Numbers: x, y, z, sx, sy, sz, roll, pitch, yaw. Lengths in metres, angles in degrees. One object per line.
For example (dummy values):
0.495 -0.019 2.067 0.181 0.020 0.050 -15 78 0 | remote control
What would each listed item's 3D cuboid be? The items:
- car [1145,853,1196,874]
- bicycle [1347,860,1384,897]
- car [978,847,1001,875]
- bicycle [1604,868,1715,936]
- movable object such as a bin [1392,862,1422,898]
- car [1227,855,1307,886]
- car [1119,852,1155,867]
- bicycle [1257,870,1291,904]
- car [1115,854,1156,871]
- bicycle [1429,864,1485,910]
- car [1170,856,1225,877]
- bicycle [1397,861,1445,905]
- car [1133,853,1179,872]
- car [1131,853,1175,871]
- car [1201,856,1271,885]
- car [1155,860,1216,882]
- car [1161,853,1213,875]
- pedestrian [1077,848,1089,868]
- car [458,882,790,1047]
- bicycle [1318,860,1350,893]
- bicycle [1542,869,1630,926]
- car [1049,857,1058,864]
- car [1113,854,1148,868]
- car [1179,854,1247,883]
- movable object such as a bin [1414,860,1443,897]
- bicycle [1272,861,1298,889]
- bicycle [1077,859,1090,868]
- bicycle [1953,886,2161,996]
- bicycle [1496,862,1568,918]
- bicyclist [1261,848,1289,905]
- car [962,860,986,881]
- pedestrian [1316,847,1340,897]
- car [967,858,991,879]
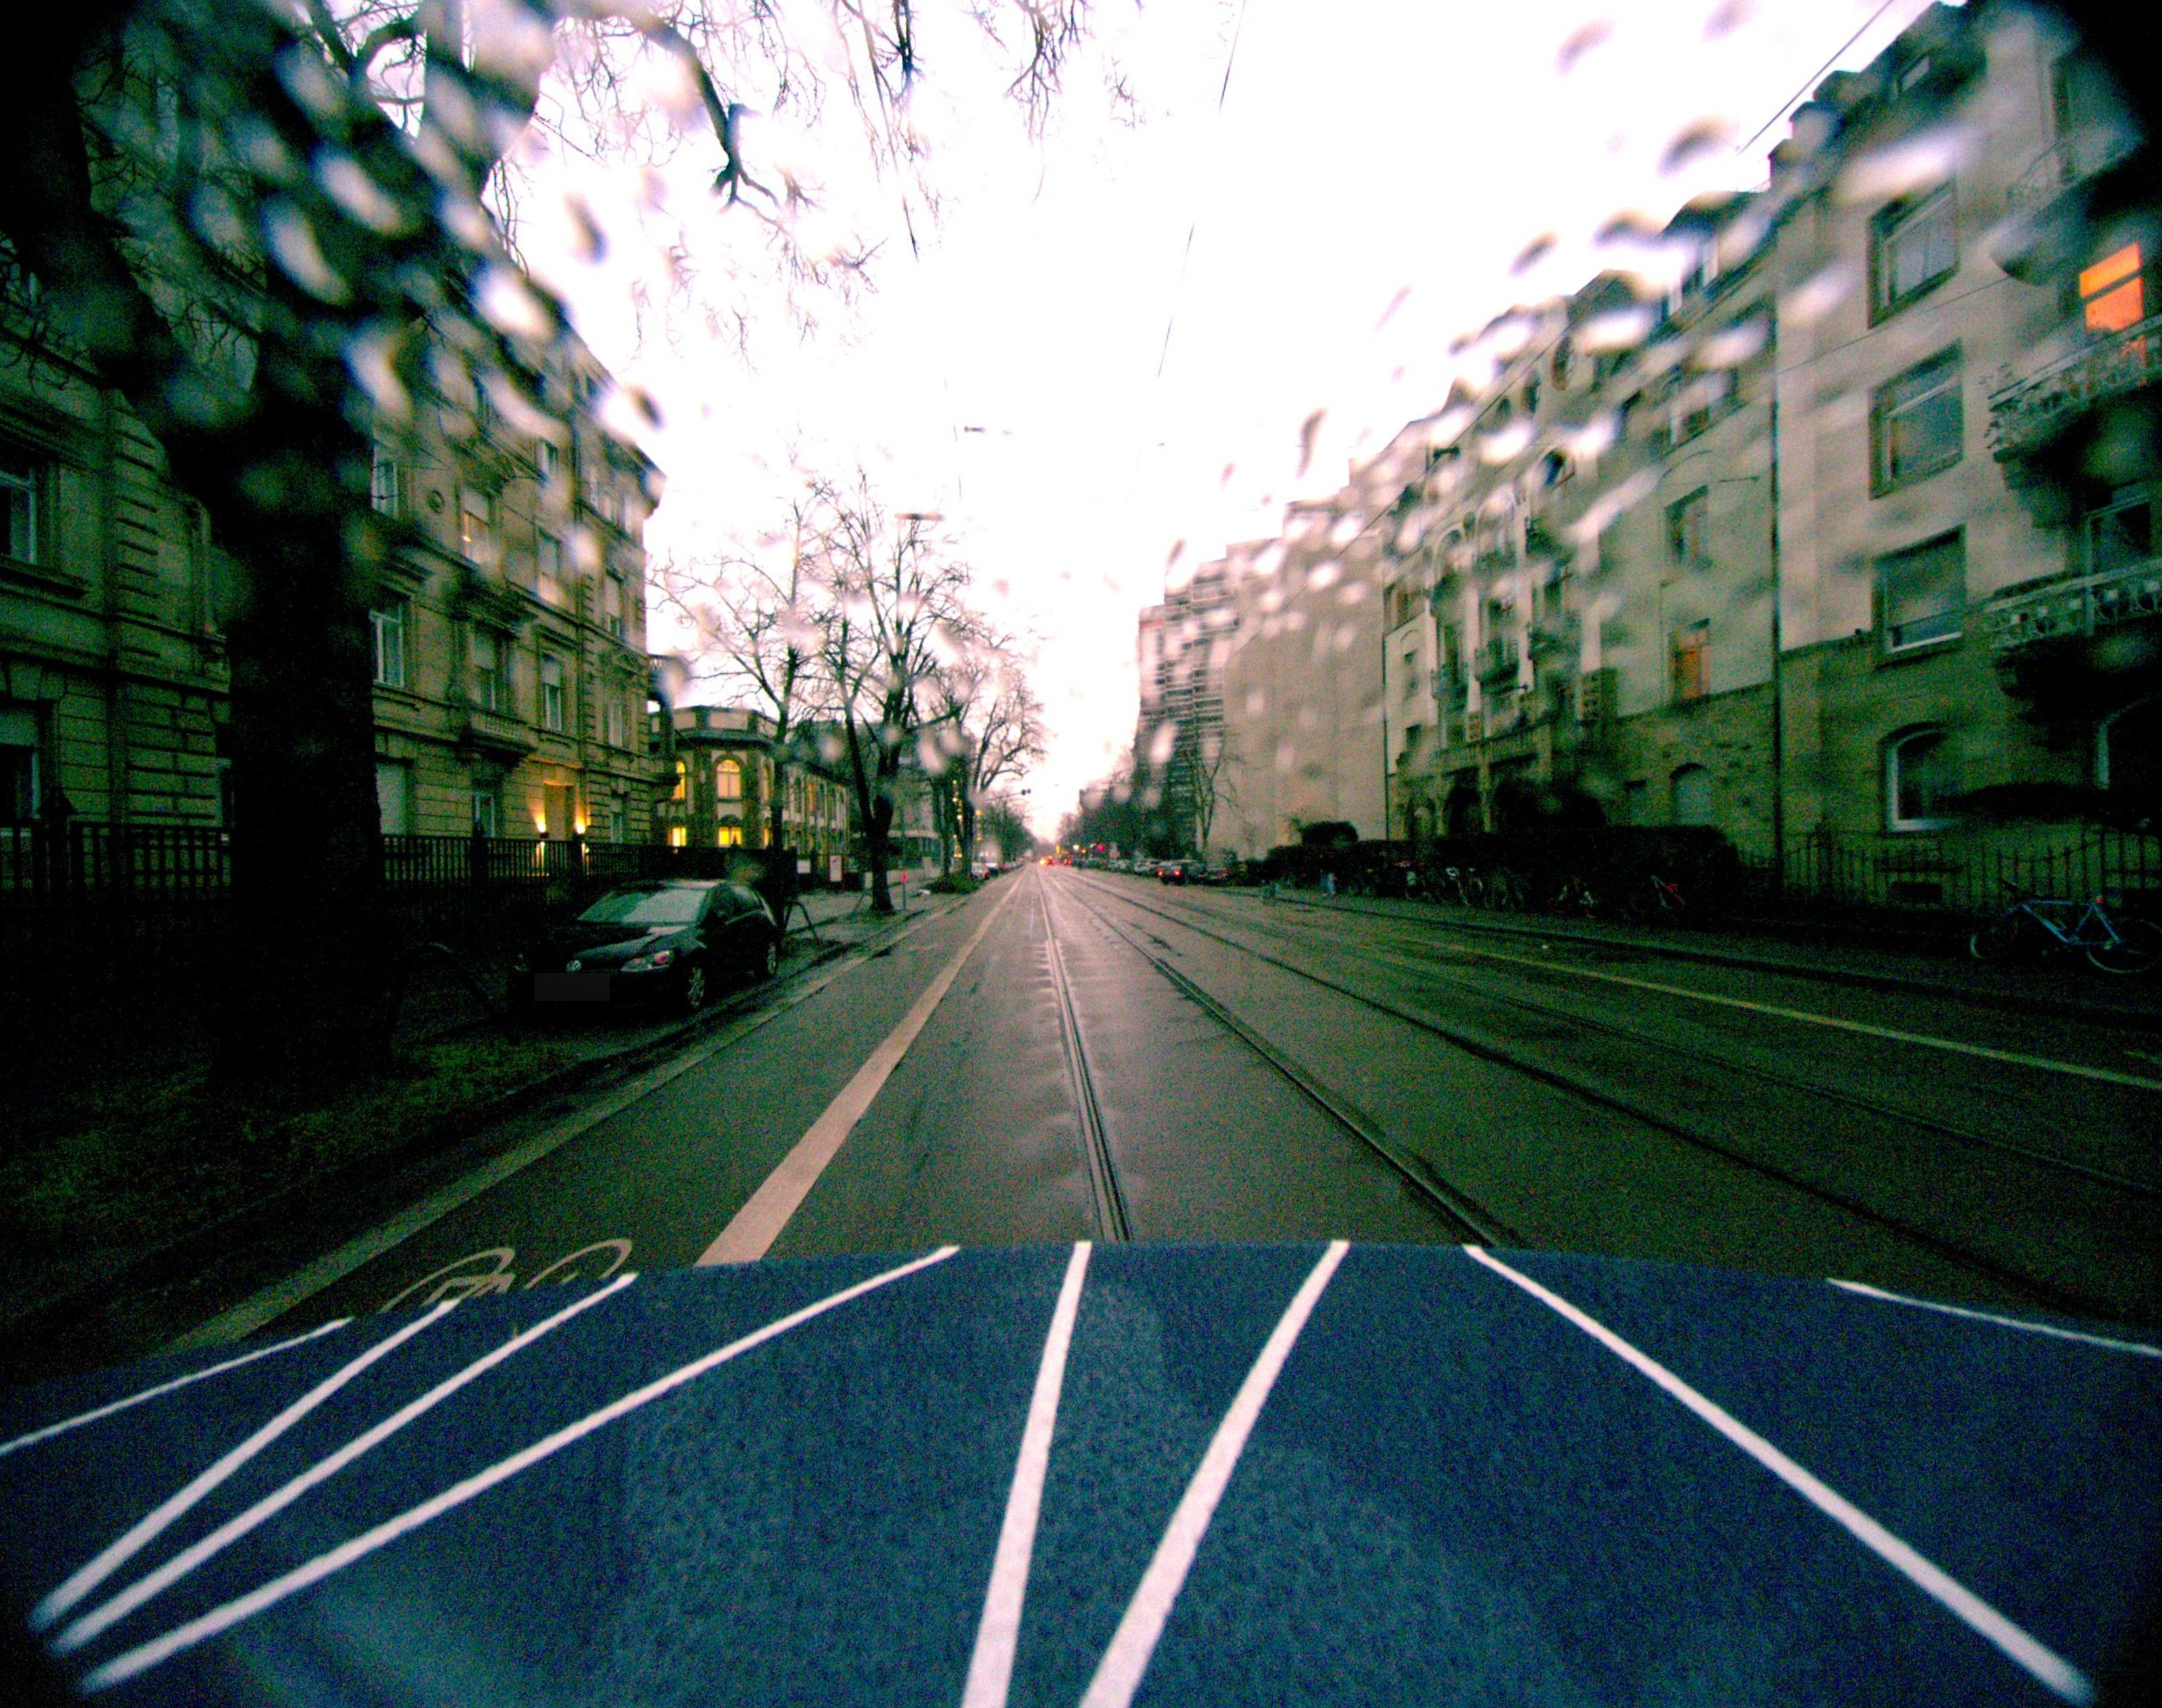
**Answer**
7.457 0.802 63.128 4.008 1.586 1.864 -2 0 -40 | car
9.790 0.824 26.171 0.625 1.205 1.662 -1 0 -1 | bicycle
-9.222 0.647 77.033 2.094 2.622 5.446 -2 1 -6 | car
10.416 0.829 13.764 0.625 1.119 1.783 -1 0 -1 | bicycle
10.550 0.831 24.616 0.659 1.157 0.674 -1 0 -1 | movable object such as a bin
9.980 0.855 40.704 4.006 1.485 1.864 -2 0 -32 | car
6.560 0.661 89.195 4.008 1.586 1.864 -2 0 -40 | car
6.573 1.103 25.945 0.625 1.086 1.947 -1 0 -1 | bicycle
5.621 0.899 77.821 4.008 1.586 1.864 -2 0 -40 | car
9.977 0.848 20.203 0.625 1.157 1.662 -1 0 -1 | bicycle
8.751 0.912 56.923 4.008 1.440 1.864 -2 0 -40 | car
9.933 0.827 22.276 0.625 1.205 1.662 -1 0 -1 | bicycle
6.901 0.788 69.592 4.008 1.586 1.864 -2 0 -40 | car
6.943 0.766 72.699 4.008 1.586 1.864 -2 0 -40 | car
8.823 0.895 43.081 4.008 1.477 1.760 -2 0 -40 | car
6.501 1.045 47.157 3.673 1.245 1.707 0 0 -41 | car
8.445 0.809 60.492 4.008 1.586 1.864 -2 0 -40 | car
0.257 0.477 89.918 0.950 2.246 1.120 -1 1 22 | pedestrian
-5.104 1.123 9.265 1.763 1.437 4.156 1 -1 -4 | car
9.494 0.825 28.537 0.625 1.205 1.662 -1 0 -1 | bicycle
10.394 0.865 15.712 0.625 1.059 1.726 -1 0 -1 | bicycle
-7.623 1.796 213.372 2.239 2.002 4.458 -2 1 -5 | car
5.947 0.799 91.290 4.008 1.586 1.864 -2 0 -40 | car
8.050 0.839 46.074 4.008 1.586 1.864 -2 0 -40 | car
11.264 0.784 24.624 0.625 1.157 0.674 -1 0 -1 | movable object such as a bin
9.070 0.920 33.810 0.625 1.157 1.662 -2 0 -1 | bicycle
0.300 1.090 90.013 0.856 0.986 1.921 -1 1 21 | bicycle
10.737 0.880 8.245 0.625 0.997 1.662 -1 0 -1 | bicycle
10.335 0.794 17.471 0.625 1.205 1.662 -1 0 -1 | bicycle
6.557 0.747 25.697 0.625 1.865 0.991 -1 0 -1 | bicyclist
-7.989 1.210 57.085 1.628 1.399 3.997 -2 1 -6 | car
8.679 0.638 26.750 0.574 1.715 0.644 -3 2 1 | pedestrian
-8.968 1.252 67.032 2.000 1.672 3.997 -2 1 -6 | car
